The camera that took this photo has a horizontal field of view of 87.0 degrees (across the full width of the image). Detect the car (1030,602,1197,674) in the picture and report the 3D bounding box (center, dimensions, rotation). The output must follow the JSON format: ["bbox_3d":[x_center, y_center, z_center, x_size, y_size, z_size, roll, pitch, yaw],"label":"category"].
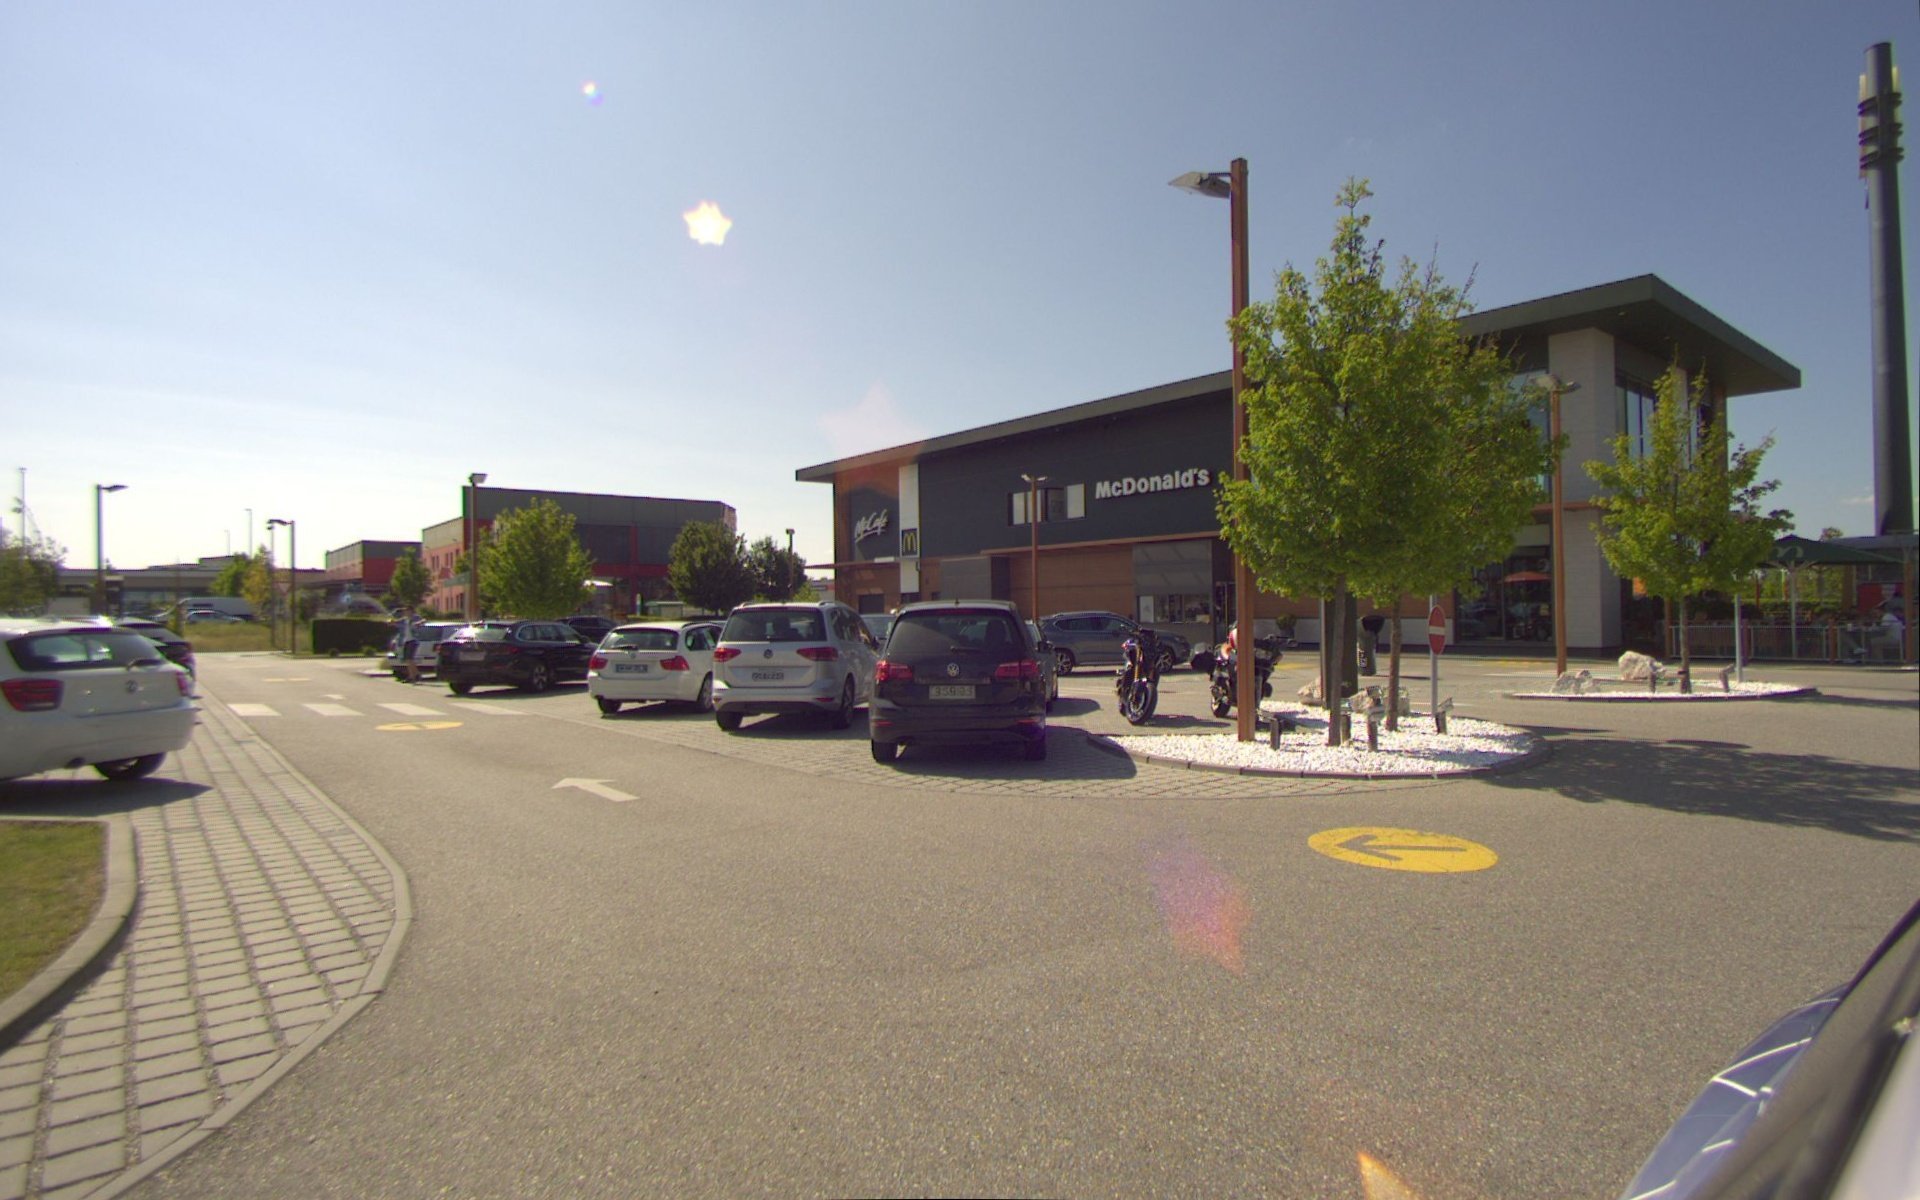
[{"bbox_3d":[3.977,0.982,26.773,4.152,1.623,1.789,-3,1,4],"label":"car"}]

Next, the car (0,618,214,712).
[{"bbox_3d":[-14.704,1.026,16.488,3.931,1.421,1.817,-1,-1,7],"label":"car"}]

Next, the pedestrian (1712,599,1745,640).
[{"bbox_3d":[21.156,0.543,27.865,0.645,1.115,0.572,0,-2,-41],"label":"pedestrian"}]

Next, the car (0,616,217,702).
[{"bbox_3d":[-16.756,1.089,19.232,3.922,1.508,1.821,-1,-1,-2],"label":"car"}]

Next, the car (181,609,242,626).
[{"bbox_3d":[-60.917,1.394,82.388,3.839,1.359,1.662,0,-1,-41],"label":"car"}]

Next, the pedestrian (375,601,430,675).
[{"bbox_3d":[-14.774,0.997,26.840,0.890,1.940,0.913,-1,-1,16],"label":"pedestrian"}]

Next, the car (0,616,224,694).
[{"bbox_3d":[-18.484,1.130,21.518,4.263,1.531,1.781,-1,-1,-8],"label":"car"}]

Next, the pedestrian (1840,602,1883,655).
[{"bbox_3d":[22.013,0.687,24.707,0.515,1.274,0.714,1,-2,-44],"label":"pedestrian"}]

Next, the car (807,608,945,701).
[{"bbox_3d":[-1.517,0.978,19.731,1.782,1.614,3.989,-1,-1,9],"label":"car"}]

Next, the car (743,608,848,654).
[{"bbox_3d":[-6.672,1.217,40.977,3.954,1.727,1.678,-1,0,-18],"label":"car"}]

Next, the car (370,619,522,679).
[{"bbox_3d":[-13.362,1.241,26.568,1.677,1.444,3.894,-1,-1,7],"label":"car"}]

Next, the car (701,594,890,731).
[{"bbox_3d":[-2.164,0.805,14.380,1.717,1.661,4.061,-1,-1,5],"label":"car"}]

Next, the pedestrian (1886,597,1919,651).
[{"bbox_3d":[22.656,0.577,24.191,0.564,1.274,0.727,1,-2,-45],"label":"pedestrian"}]

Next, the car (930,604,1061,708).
[{"bbox_3d":[0.731,0.896,16.861,1.804,1.466,4.652,-1,-2,7],"label":"car"}]

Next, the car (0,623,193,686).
[{"bbox_3d":[-21.448,1.304,24.510,4.597,1.429,1.710,-1,-1,4],"label":"car"}]

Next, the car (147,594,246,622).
[{"bbox_3d":[-63.375,0.649,84.074,6.456,2.273,2.297,0,-1,-41],"label":"car"}]

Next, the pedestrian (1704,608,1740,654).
[{"bbox_3d":[19.279,0.778,25.602,0.515,1.138,0.633,1,-2,-44],"label":"pedestrian"}]

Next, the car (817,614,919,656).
[{"bbox_3d":[-3.516,1.320,38.454,3.694,1.462,1.678,-1,-1,-11],"label":"car"}]

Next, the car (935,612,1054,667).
[{"bbox_3d":[0.975,1.118,29.443,3.350,1.501,1.568,-1,-1,0],"label":"car"}]

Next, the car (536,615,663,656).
[{"bbox_3d":[-15.905,1.523,44.860,4.977,1.651,1.921,0,-1,-42],"label":"car"}]

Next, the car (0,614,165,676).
[{"bbox_3d":[-24.040,1.186,27.100,3.974,1.576,1.808,-1,-1,-5],"label":"car"}]

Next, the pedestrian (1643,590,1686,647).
[{"bbox_3d":[20.230,0.540,29.071,0.714,1.604,0.742,0,-2,-30],"label":"pedestrian"}]

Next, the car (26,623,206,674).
[{"bbox_3d":[-25.866,1.472,31.110,4.007,1.440,1.798,-1,-1,-2],"label":"car"}]

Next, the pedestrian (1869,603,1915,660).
[{"bbox_3d":[21.282,0.711,23.111,0.564,1.274,0.727,1,-2,-45],"label":"pedestrian"}]

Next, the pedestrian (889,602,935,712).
[{"bbox_3d":[-0.776,0.908,16.320,0.601,1.735,0.561,-1,-1,13],"label":"pedestrian"}]

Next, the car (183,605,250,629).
[{"bbox_3d":[-56.764,1.281,77.264,3.934,1.750,1.889,0,-1,-44],"label":"car"}]

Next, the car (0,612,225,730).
[{"bbox_3d":[-12.916,0.931,13.844,4.389,1.490,1.913,-1,-1,2],"label":"car"}]

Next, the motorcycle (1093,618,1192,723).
[{"bbox_3d":[2.358,0.888,13.380,0.805,1.247,2.141,-1,-2,-2],"label":"motorcycle"}]

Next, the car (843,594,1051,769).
[{"bbox_3d":[0.042,0.754,11.180,1.862,1.556,4.184,-1,-1,5],"label":"car"}]

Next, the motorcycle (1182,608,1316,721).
[{"bbox_3d":[3.601,0.793,12.873,1.051,1.267,2.250,-2,-2,2],"label":"motorcycle"}]

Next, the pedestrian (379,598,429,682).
[{"bbox_3d":[-13.106,0.924,23.882,1.008,1.940,0.903,0,-1,-28],"label":"pedestrian"}]

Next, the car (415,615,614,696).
[{"bbox_3d":[-9.237,1.092,21.451,1.949,1.530,4.409,-1,-1,6],"label":"car"}]

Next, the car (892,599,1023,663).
[{"bbox_3d":[-0.087,0.990,32.401,4.066,1.946,1.758,-1,-1,0],"label":"car"}]

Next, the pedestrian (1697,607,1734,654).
[{"bbox_3d":[18.821,0.758,25.220,0.515,1.138,0.633,1,-2,-44],"label":"pedestrian"}]

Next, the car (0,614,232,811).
[{"bbox_3d":[-8.772,0.860,8.475,4.110,1.444,1.842,-1,-1,3],"label":"car"}]

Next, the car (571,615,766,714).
[{"bbox_3d":[-4.670,0.993,16.848,1.762,1.426,4.075,-1,-1,6],"label":"car"}]

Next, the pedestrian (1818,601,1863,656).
[{"bbox_3d":[20.487,0.661,23.556,0.515,1.274,0.714,1,-2,-44],"label":"pedestrian"}]

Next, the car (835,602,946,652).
[{"bbox_3d":[-2.444,0.941,35.280,3.767,1.653,1.760,-1,-1,-6],"label":"car"}]
